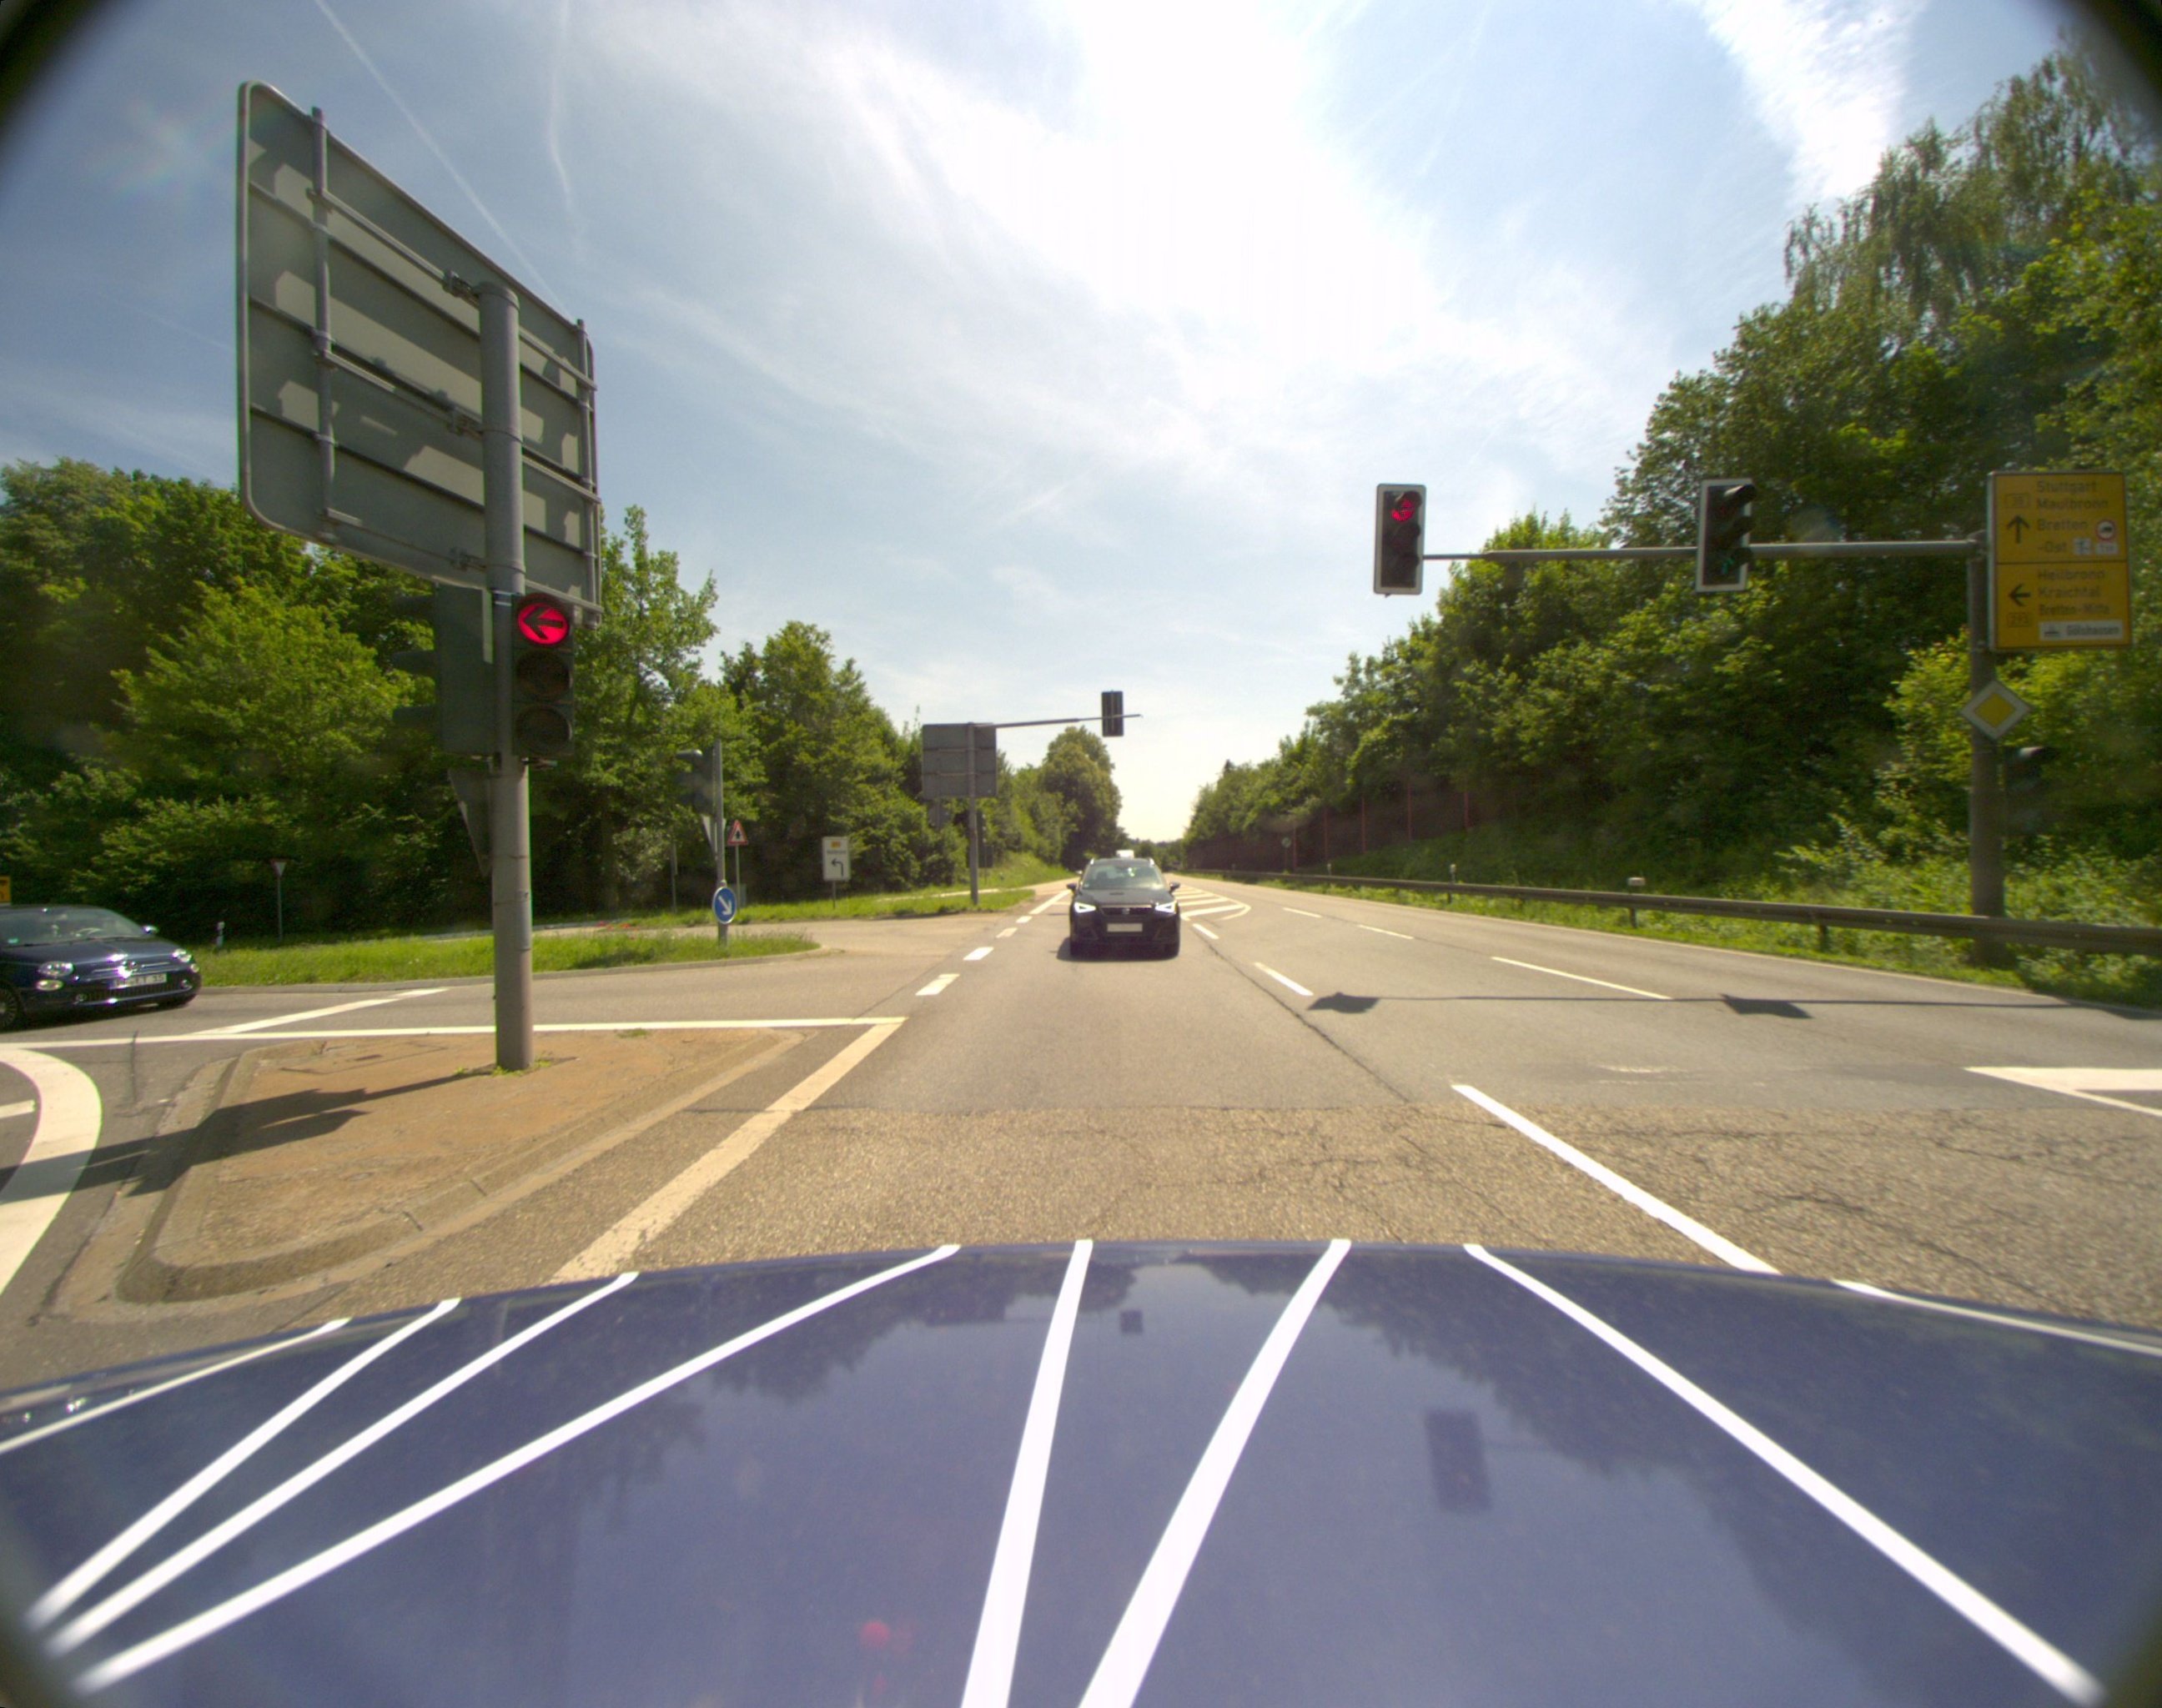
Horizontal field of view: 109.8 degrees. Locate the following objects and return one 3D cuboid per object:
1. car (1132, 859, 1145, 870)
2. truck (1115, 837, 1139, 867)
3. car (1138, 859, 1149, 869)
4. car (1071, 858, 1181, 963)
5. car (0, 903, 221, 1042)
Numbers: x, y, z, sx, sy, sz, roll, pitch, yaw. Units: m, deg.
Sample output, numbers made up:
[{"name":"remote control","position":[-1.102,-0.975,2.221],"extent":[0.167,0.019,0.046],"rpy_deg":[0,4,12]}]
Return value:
[{"name":"car","position":[9.310,1.696,122.916],"extent":[1.998,1.756,4.001],"rpy_deg":[-1,0,3]},{"name":"truck","position":[6.164,-0.220,103.566],"extent":[2.840,3.794,8.451],"rpy_deg":[-2,0,1]},{"name":"car","position":[11.992,1.965,146.517],"extent":[1.998,1.756,4.001],"rpy_deg":[-1,0,3]},{"name":"car","position":[0.642,0.844,13.253],"extent":[1.627,1.535,3.999],"rpy_deg":[0,0,-1]},{"name":"car","position":[-13.488,1.486,9.784],"extent":[3.354,1.457,1.691],"rpy_deg":[-3,0,12]}]
